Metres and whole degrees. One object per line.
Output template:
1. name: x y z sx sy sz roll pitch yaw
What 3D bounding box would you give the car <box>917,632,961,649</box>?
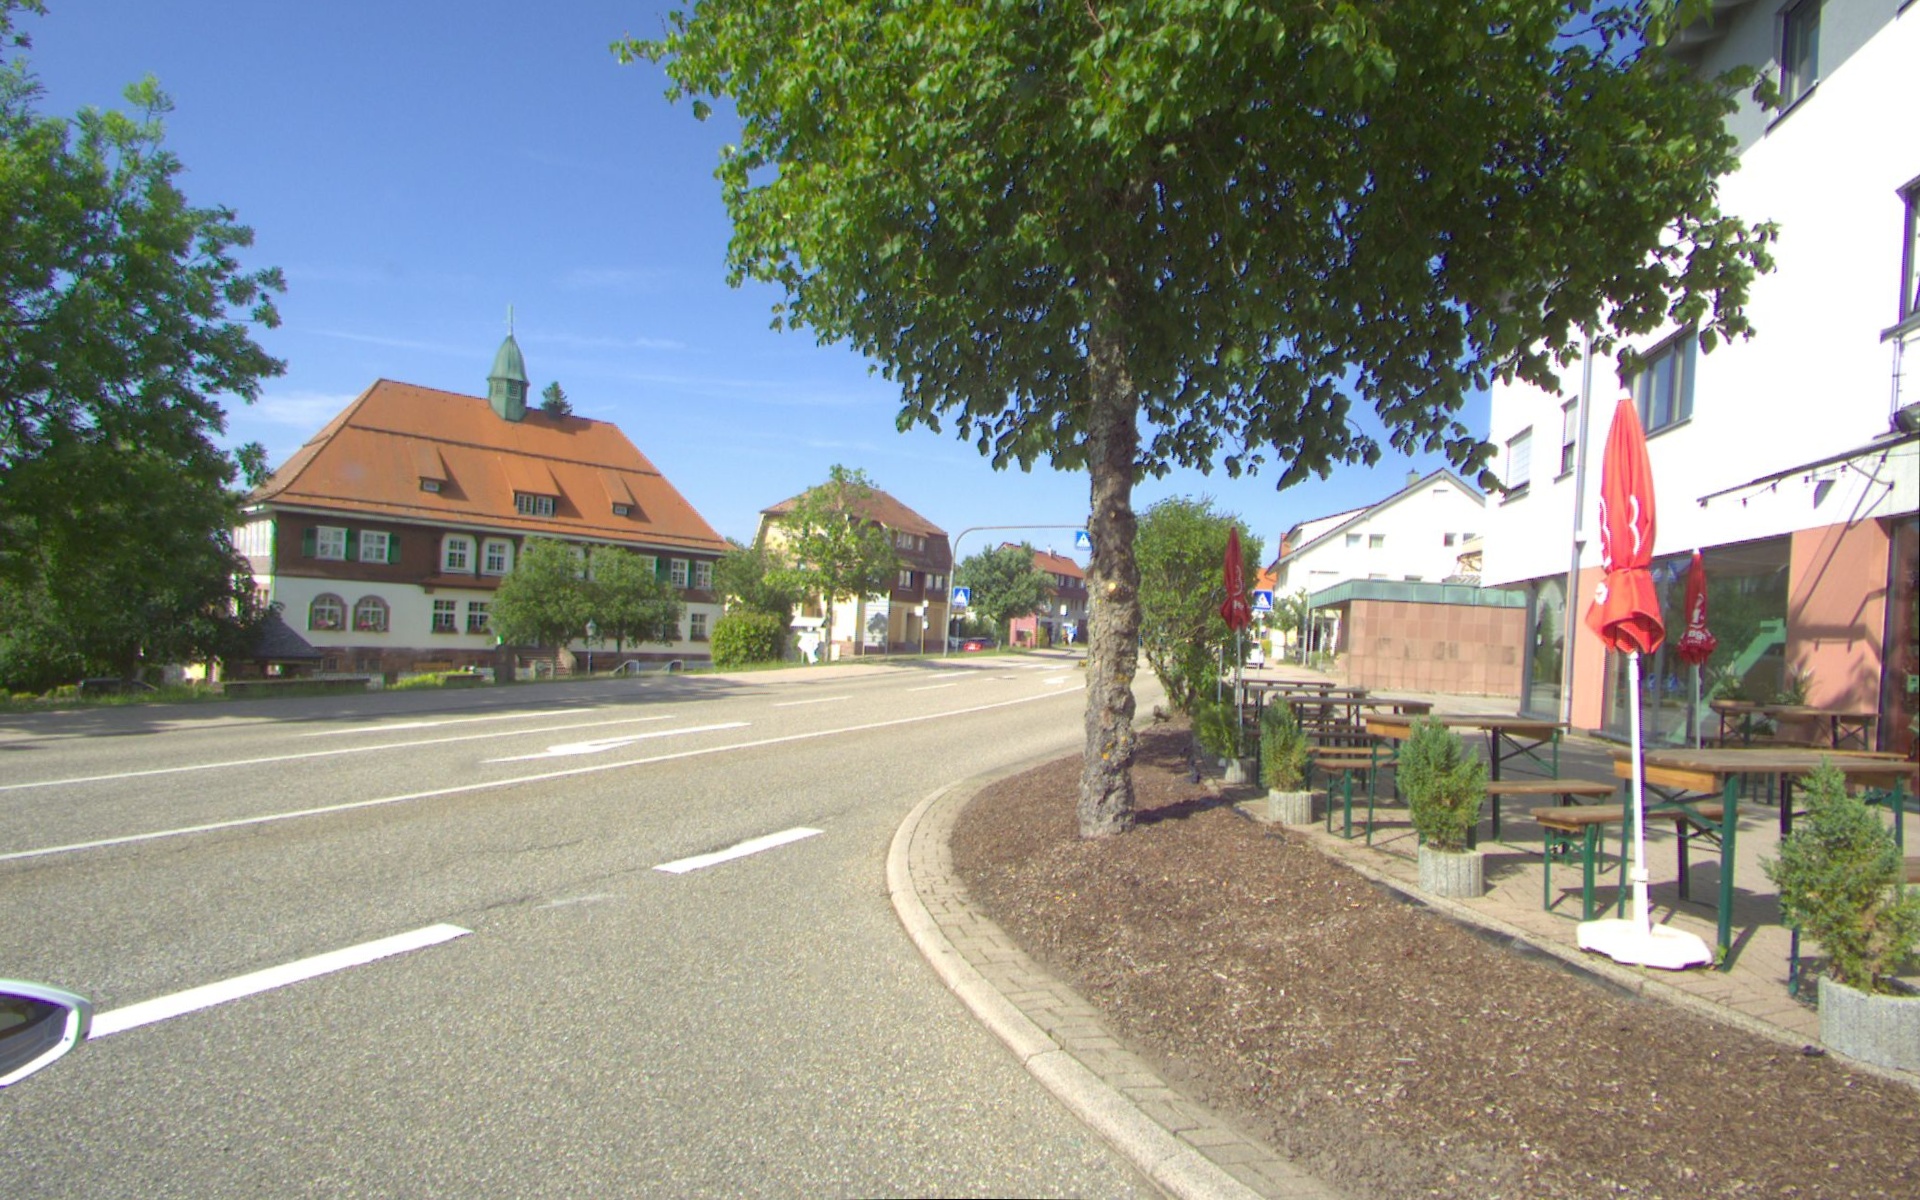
1. car: -1.964 3.754 92.846 3.648 1.451 1.774 -2 -2 19

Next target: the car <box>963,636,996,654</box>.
1. car: 1.649 3.680 82.045 1.744 1.451 3.710 -1 -2 17

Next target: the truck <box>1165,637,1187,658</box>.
1. truck: 26.413 5.781 122.319 1.964 2.372 6.487 2 -1 17

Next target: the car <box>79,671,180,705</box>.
1. car: -41.528 4.364 50.094 1.696 1.463 3.751 -2 -2 44

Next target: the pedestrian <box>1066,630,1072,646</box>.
1. pedestrian: 12.177 4.253 111.852 0.489 1.771 0.581 -1 -1 31

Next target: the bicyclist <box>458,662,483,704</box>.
1. bicyclist: -23.477 3.977 48.033 0.988 1.949 0.577 1 -2 -43

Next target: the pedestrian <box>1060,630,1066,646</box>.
1. pedestrian: 11.546 4.263 112.087 0.489 1.771 0.587 -1 -1 31
